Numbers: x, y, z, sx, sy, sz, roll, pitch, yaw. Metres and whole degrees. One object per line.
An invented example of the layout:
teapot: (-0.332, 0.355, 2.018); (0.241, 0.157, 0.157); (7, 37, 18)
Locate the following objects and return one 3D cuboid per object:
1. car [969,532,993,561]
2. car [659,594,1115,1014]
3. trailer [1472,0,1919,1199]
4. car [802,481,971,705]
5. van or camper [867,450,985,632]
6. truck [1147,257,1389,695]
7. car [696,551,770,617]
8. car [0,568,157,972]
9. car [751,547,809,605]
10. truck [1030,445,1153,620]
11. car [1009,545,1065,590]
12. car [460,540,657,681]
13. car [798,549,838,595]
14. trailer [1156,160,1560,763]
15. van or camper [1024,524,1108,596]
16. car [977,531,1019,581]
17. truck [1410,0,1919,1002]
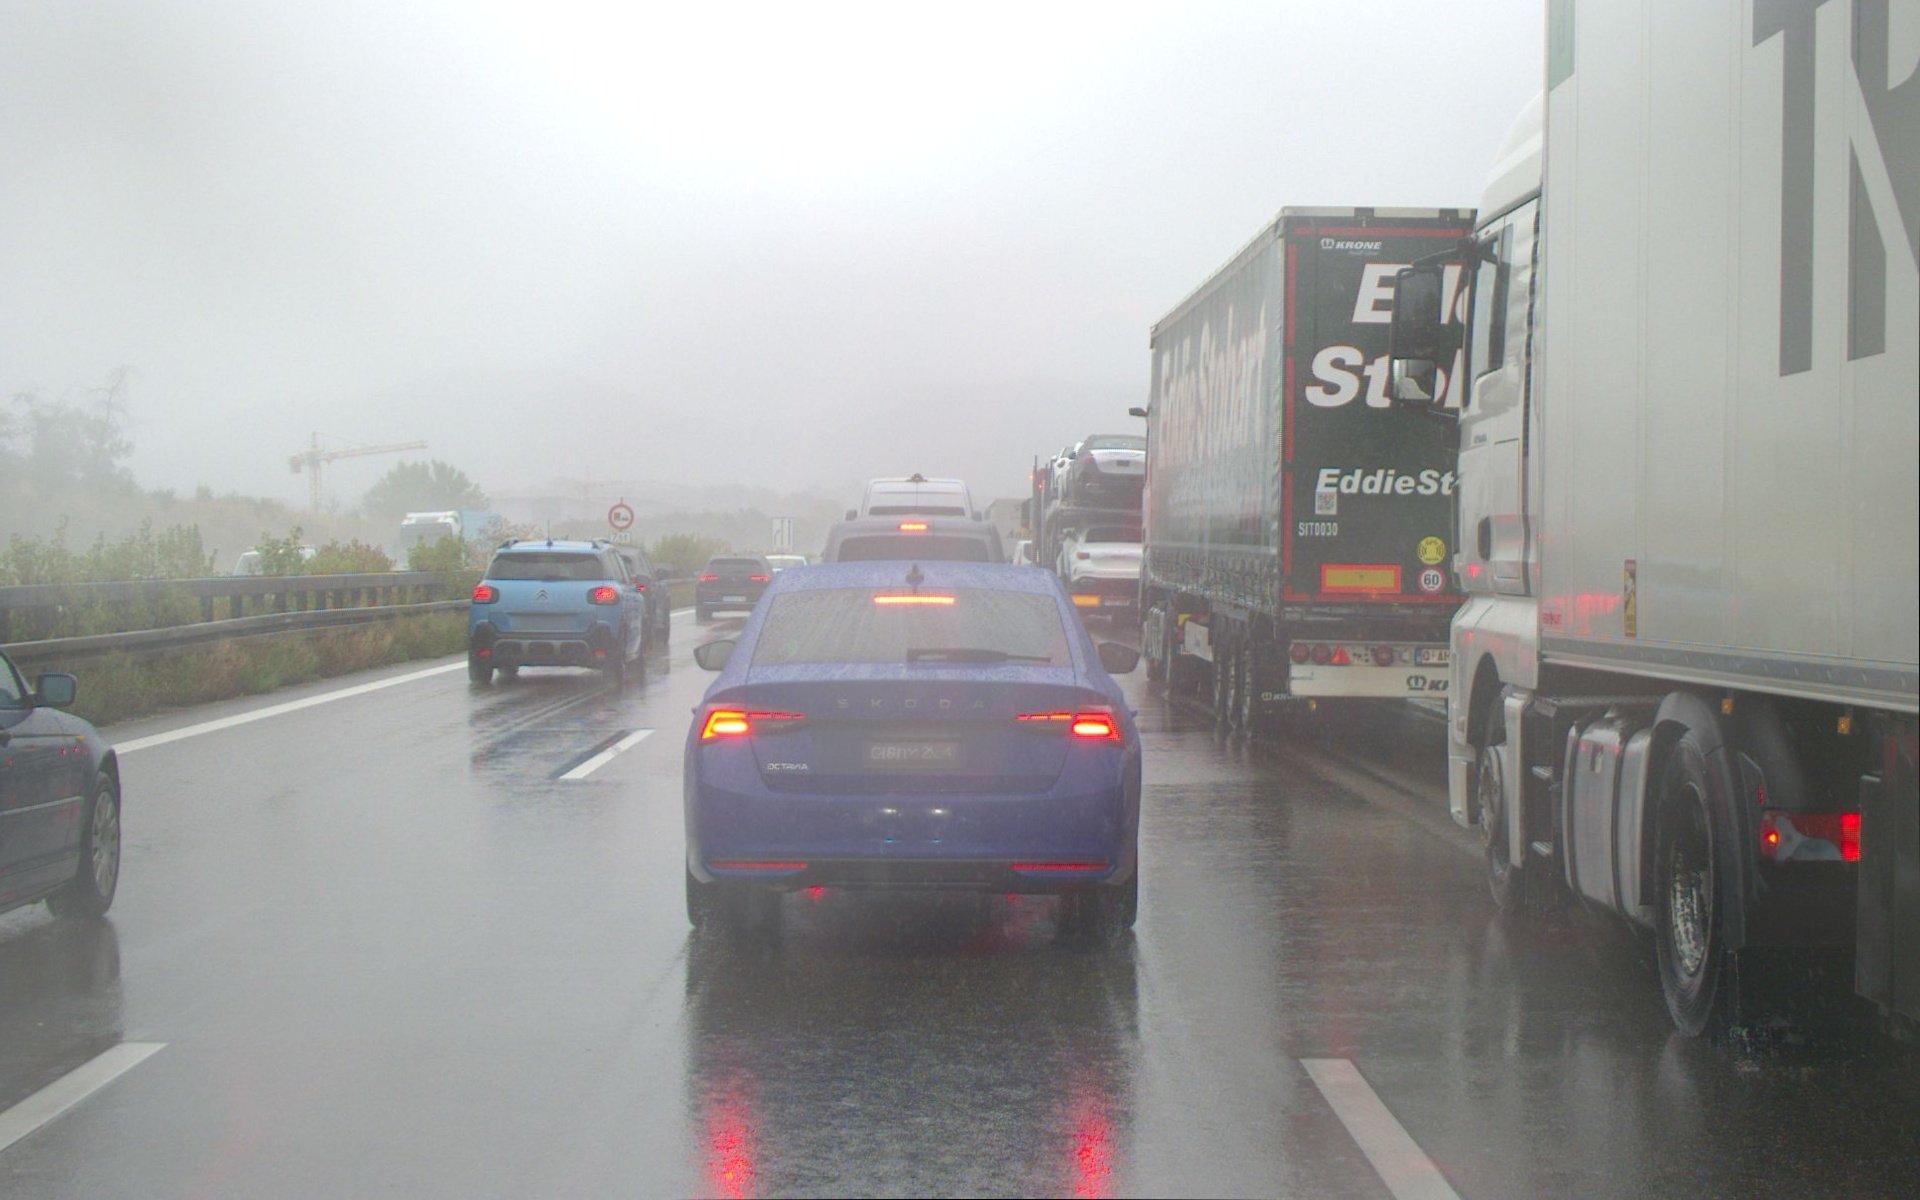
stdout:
car: (1.333, -3.339, 215.433); (1.448, 1.777, 3.409); (1, 1, 0)
car: (-0.251, 0.731, 14.382); (1.635, 1.440, 4.000); (0, 1, 0)
trailer: (3.421, -0.659, 6.434); (2.630, 3.999, 14.630); (0, 1, 0)
car: (-0.599, -0.093, 29.101); (1.336, 1.773, 3.322); (0, 1, 0)
van or camper: (-0.542, -0.966, 55.409); (1.797, 2.797, 4.768); (0, 1, 0)
truck: (3.051, -1.232, 34.888); (2.047, 4.178, 4.000); (0, 1, 0)
car: (-5.039, -0.376, 76.668); (1.439, 1.415, 3.322); (0, 1, 0)
car: (-4.218, 0.600, 12.173); (1.718, 1.395, 4.230); (0, 1, 1)
car: (-4.905, -0.662, 93.986); (1.439, 1.528, 3.322); (0, 1, 0)
truck: (2.649, -1.440, 71.237); (1.993, 3.410, 8.033); (0, 2, -2)
car: (2.422, -1.033, 108.191); (1.638, 1.323, 3.367); (0, 2, -1)
car: (-4.522, 0.080, 39.202); (1.722, 1.518, 4.000); (0, 1, 1)
car: (-5.595, -1.119, 135.638); (1.448, 1.777, 3.409); (1, 1, 0)
trailer: (3.079, -1.087, 29.521); (2.047, 4.162, 11.449); (0, 1, 0)
van or camper: (2.475, -0.973, 81.144); (1.771, 1.619, 4.484); (0, 2, -1)
car: (1.375, -1.601, 124.421); (1.448, 1.777, 3.409); (1, 1, 0)
truck: (3.374, -0.703, 13.101); (2.630, 3.814, 4.791); (0, 1, 0)
